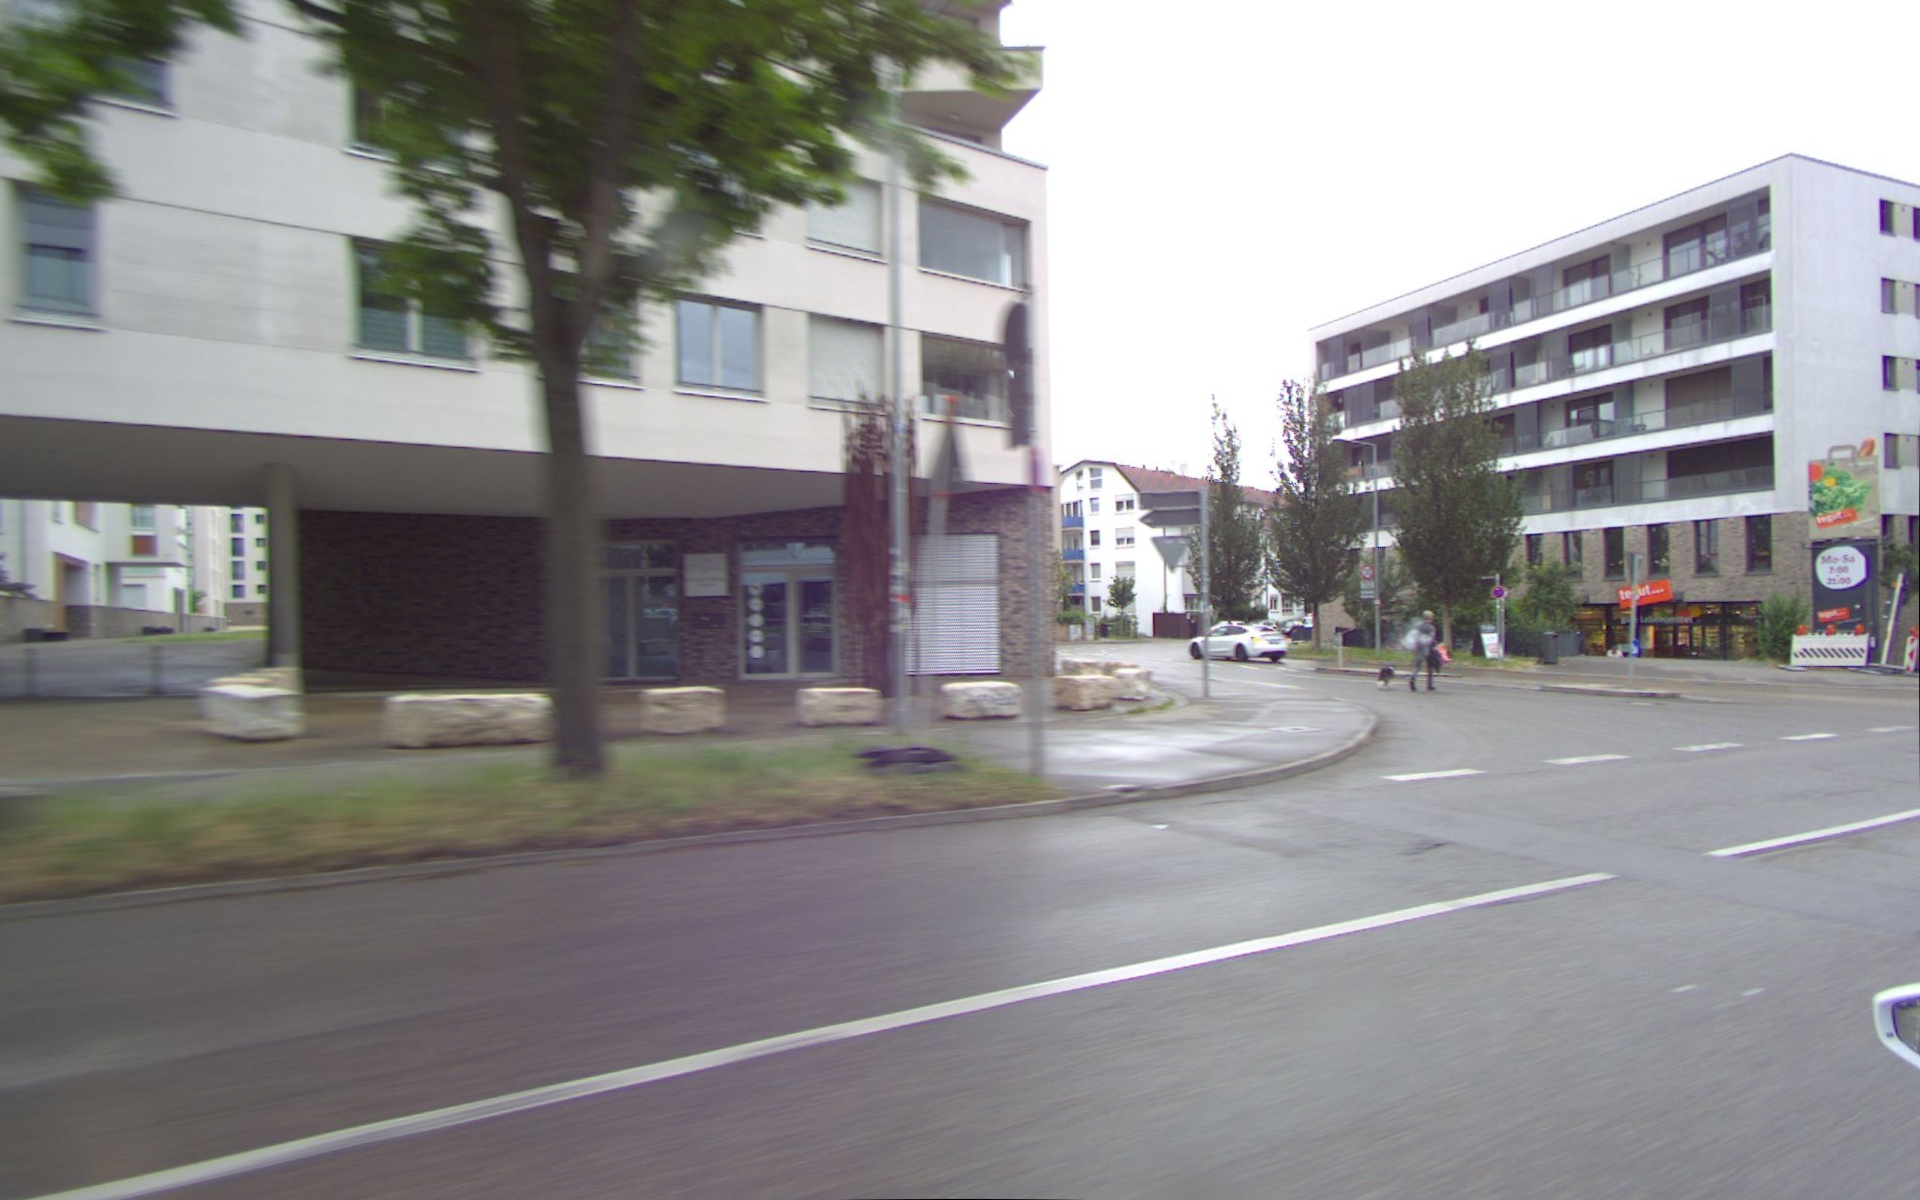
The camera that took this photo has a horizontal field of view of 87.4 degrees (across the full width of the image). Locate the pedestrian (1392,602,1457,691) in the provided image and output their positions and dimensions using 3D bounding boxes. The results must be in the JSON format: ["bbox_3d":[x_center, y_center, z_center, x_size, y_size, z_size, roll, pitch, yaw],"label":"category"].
[{"bbox_3d":[11.063,1.085,23.922,1.092,2.040,1.045,2,-1,-43],"label":"pedestrian"}]

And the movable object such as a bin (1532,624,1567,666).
[{"bbox_3d":[19.778,1.508,33.703,0.812,1.381,0.712,1,-1,-28],"label":"movable object such as a bin"}]

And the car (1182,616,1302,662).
[{"bbox_3d":[10.986,1.486,39.543,2.034,1.683,4.795,1,-1,-23],"label":"car"}]

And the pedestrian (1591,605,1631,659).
[{"bbox_3d":[25.235,1.246,38.913,1.104,2.040,0.878,1,0,-31],"label":"pedestrian"}]

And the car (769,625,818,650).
[{"bbox_3d":[-9.889,2.181,59.451,1.972,1.320,4.126,1,0,-23],"label":"car"}]
